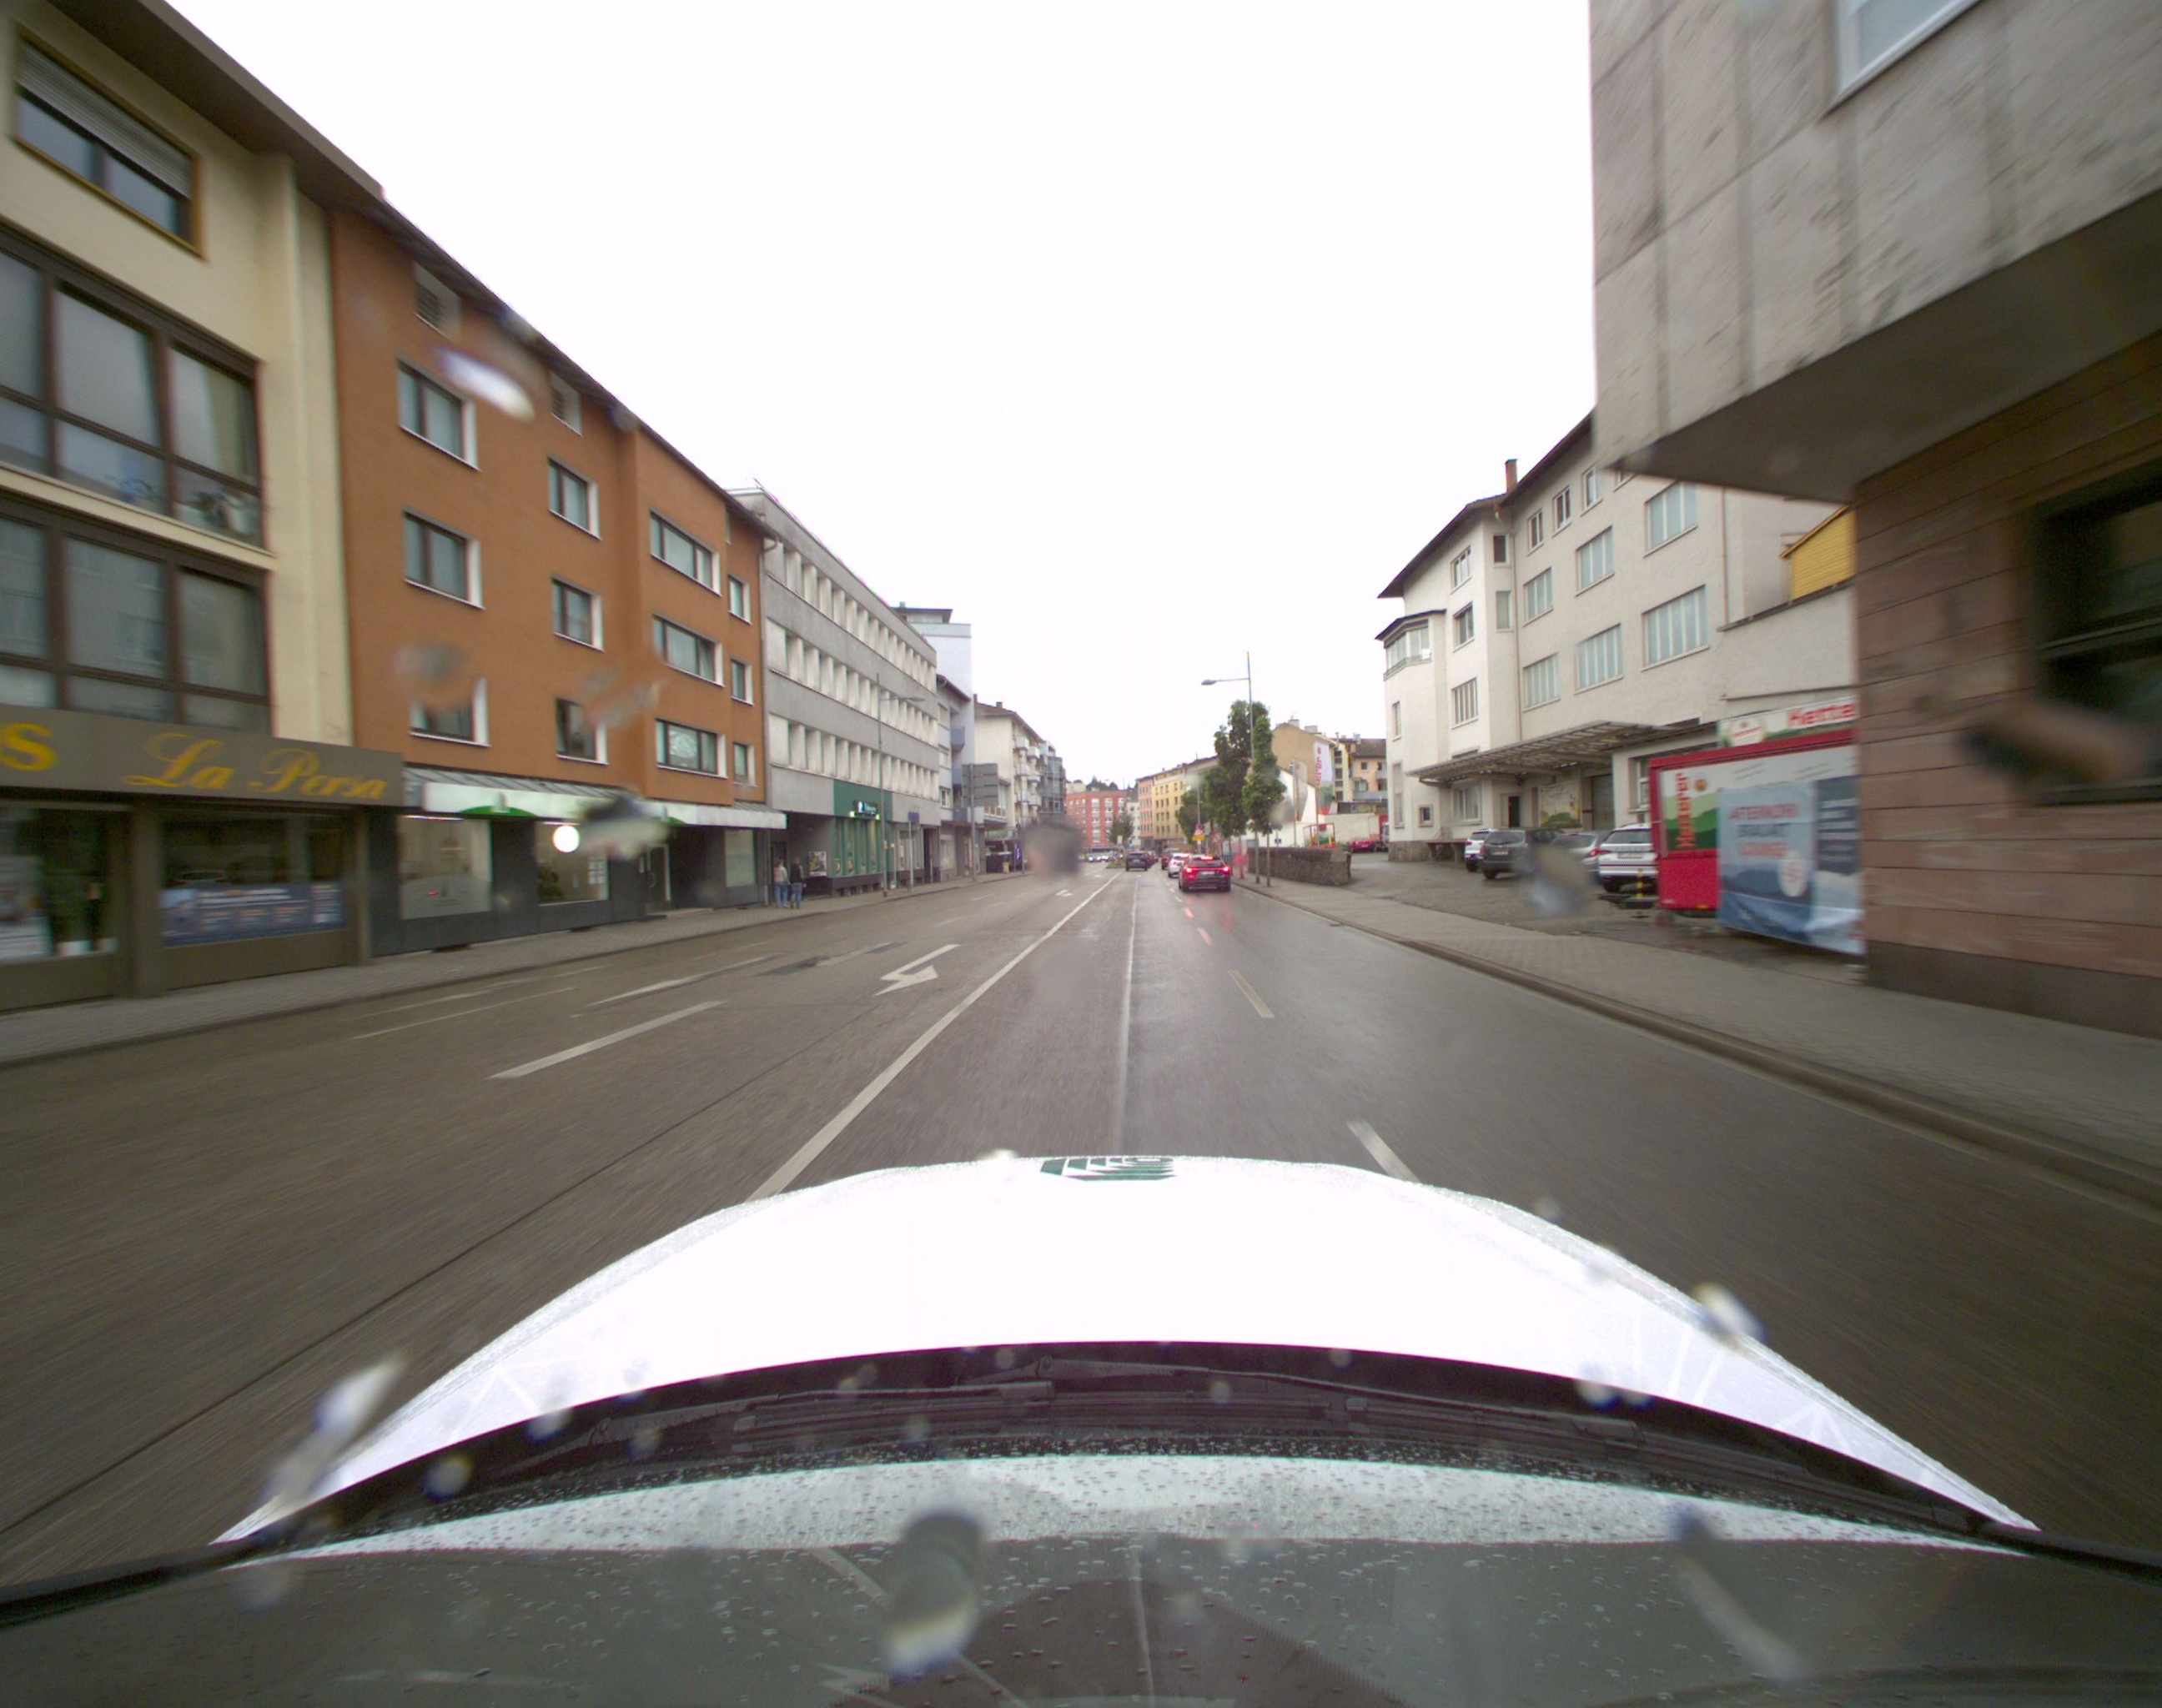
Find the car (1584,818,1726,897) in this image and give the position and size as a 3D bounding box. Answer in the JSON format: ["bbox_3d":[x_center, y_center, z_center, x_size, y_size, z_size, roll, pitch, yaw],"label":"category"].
[{"bbox_3d":[14.372,0.031,20.300,4.299,1.648,1.845,-4,2,-41],"label":"car"}]

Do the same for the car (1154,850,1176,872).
[{"bbox_3d":[7.377,0.569,71.192,1.821,1.805,3.726,0,1,6],"label":"car"}]

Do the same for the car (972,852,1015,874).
[{"bbox_3d":[-8.768,0.910,81.576,3.944,2.034,1.582,-2,0,5],"label":"car"}]

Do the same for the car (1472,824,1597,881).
[{"bbox_3d":[14.717,-0.082,26.391,4.014,1.583,1.754,-4,1,-32],"label":"car"}]

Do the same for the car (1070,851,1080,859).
[{"bbox_3d":[-1.061,0.203,147.122,1.547,1.570,3.343,0,-1,-4],"label":"car"}]

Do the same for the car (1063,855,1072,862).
[{"bbox_3d":[-2.615,0.838,158.710,1.453,1.430,3.362,0,1,-6],"label":"car"}]

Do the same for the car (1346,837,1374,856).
[{"bbox_3d":[23.719,-0.641,69.284,1.580,1.456,3.272,-3,0,9],"label":"car"}]

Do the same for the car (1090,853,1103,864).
[{"bbox_3d":[2.441,0.712,127.253,1.700,1.468,4.836,-5,0,5],"label":"car"}]

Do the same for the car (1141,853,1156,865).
[{"bbox_3d":[7.969,0.565,96.935,1.634,1.381,3.351,-3,0,3],"label":"car"}]

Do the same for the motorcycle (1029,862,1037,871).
[{"bbox_3d":[-5.342,1.354,91.301,0.523,0.995,2.140,0,0,6],"label":"motorcycle"}]

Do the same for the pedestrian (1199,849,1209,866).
[{"bbox_3d":[13.025,0.371,86.114,0.785,1.755,0.876,-3,-1,18],"label":"pedestrian"}]

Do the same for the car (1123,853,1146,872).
[{"bbox_3d":[4.527,0.688,68.422,1.814,1.600,3.724,0,0,5],"label":"car"}]

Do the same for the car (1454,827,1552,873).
[{"bbox_3d":[16.010,-0.171,30.849,4.002,1.568,1.904,-2,0,-41],"label":"car"}]

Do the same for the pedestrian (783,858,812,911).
[{"bbox_3d":[-9.894,1.057,28.438,0.572,1.788,0.828,2,0,5],"label":"pedestrian"}]

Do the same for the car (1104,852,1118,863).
[{"bbox_3d":[4.519,0.491,122.651,1.712,1.423,4.171,-4,0,5],"label":"car"}]

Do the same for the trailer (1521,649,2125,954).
[{"bbox_3d":[9.779,-0.537,11.609,2.638,3.176,5.674,-3,-1,-22],"label":"trailer"}]

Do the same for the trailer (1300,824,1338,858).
[{"bbox_3d":[20.633,-1.142,70.707,2.116,2.716,5.402,-4,0,7],"label":"trailer"}]

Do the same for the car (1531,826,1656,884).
[{"bbox_3d":[14.972,0.019,23.733,3.857,1.400,1.627,-4,-1,-35],"label":"car"}]

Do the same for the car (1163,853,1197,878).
[{"bbox_3d":[5.922,0.637,49.052,1.659,1.396,3.867,0,1,1],"label":"car"}]

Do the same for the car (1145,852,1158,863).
[{"bbox_3d":[9.213,0.443,106.843,1.634,1.381,3.351,-3,0,3],"label":"car"}]

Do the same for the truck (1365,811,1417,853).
[{"bbox_3d":[26.410,-1.797,69.778,2.616,3.215,6.947,-4,0,9],"label":"truck"}]

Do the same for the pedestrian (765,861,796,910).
[{"bbox_3d":[-10.520,1.095,28.531,0.627,1.675,0.909,2,0,4],"label":"pedestrian"}]

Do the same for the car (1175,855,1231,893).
[{"bbox_3d":[4.822,0.762,32.678,1.782,1.403,4.637,0,0,3],"label":"car"}]

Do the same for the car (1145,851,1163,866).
[{"bbox_3d":[6.976,0.414,78.113,1.634,1.381,3.351,-3,0,3],"label":"car"}]
